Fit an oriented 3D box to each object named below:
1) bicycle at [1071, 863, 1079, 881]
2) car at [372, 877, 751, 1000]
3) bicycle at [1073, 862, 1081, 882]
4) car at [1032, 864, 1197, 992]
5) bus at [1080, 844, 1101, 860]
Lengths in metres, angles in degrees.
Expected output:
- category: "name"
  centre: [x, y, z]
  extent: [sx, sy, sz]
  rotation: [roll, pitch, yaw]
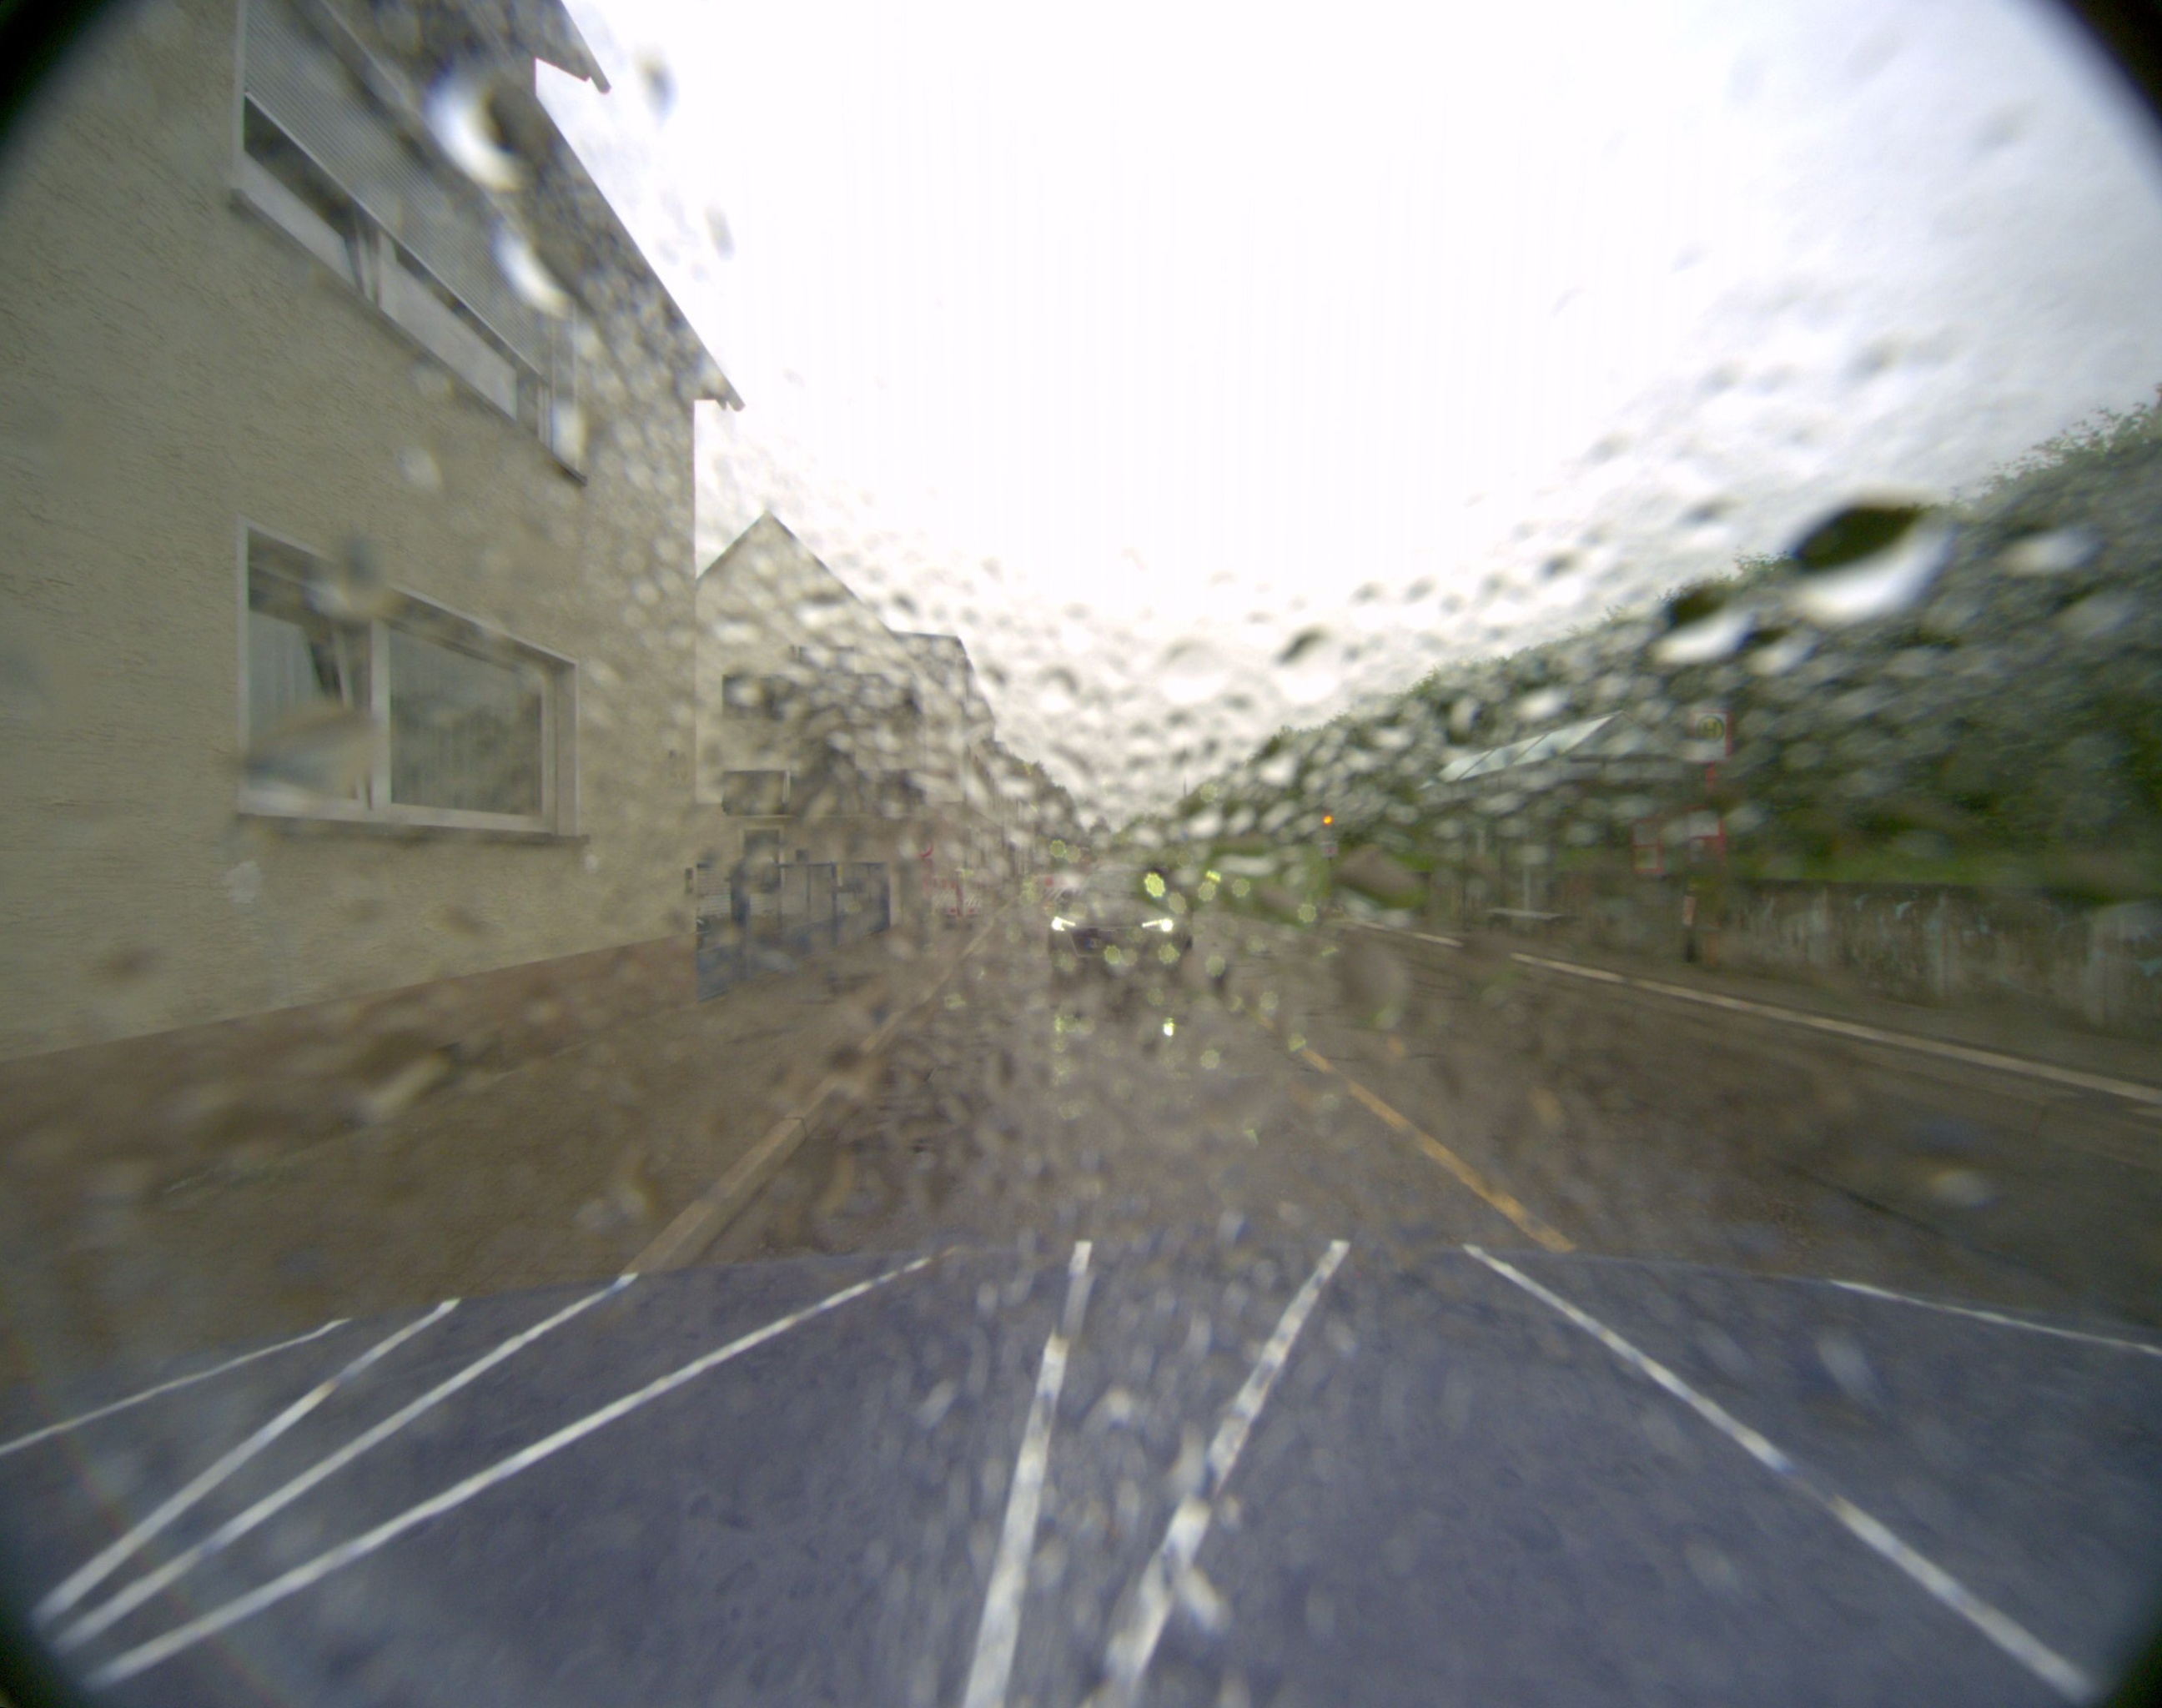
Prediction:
- category: "bicycle"
  centre: [-0.356, 1.062, 45.944]
  extent: [0.407, 1.023, 1.221]
  rotation: [1, 1, 0]
- category: "car"
  centre: [-7.402, 1.163, 11.207]
  extent: [4.155, 1.294, 1.912]
  rotation: [-4, 1, -2]
- category: "bicycle"
  centre: [-0.235, 1.031, 43.711]
  extent: [0.407, 1.137, 1.221]
  rotation: [1, 1, 0]
- category: "car"
  centre: [0.732, 0.929, 11.638]
  extent: [1.850, 1.444, 4.535]
  rotation: [1, 1, 11]
- category: "bus"
  centre: [2.006, -0.475, 153.808]
  extent: [2.684, 2.987, 14.552]
  rotation: [1, 1, 7]
